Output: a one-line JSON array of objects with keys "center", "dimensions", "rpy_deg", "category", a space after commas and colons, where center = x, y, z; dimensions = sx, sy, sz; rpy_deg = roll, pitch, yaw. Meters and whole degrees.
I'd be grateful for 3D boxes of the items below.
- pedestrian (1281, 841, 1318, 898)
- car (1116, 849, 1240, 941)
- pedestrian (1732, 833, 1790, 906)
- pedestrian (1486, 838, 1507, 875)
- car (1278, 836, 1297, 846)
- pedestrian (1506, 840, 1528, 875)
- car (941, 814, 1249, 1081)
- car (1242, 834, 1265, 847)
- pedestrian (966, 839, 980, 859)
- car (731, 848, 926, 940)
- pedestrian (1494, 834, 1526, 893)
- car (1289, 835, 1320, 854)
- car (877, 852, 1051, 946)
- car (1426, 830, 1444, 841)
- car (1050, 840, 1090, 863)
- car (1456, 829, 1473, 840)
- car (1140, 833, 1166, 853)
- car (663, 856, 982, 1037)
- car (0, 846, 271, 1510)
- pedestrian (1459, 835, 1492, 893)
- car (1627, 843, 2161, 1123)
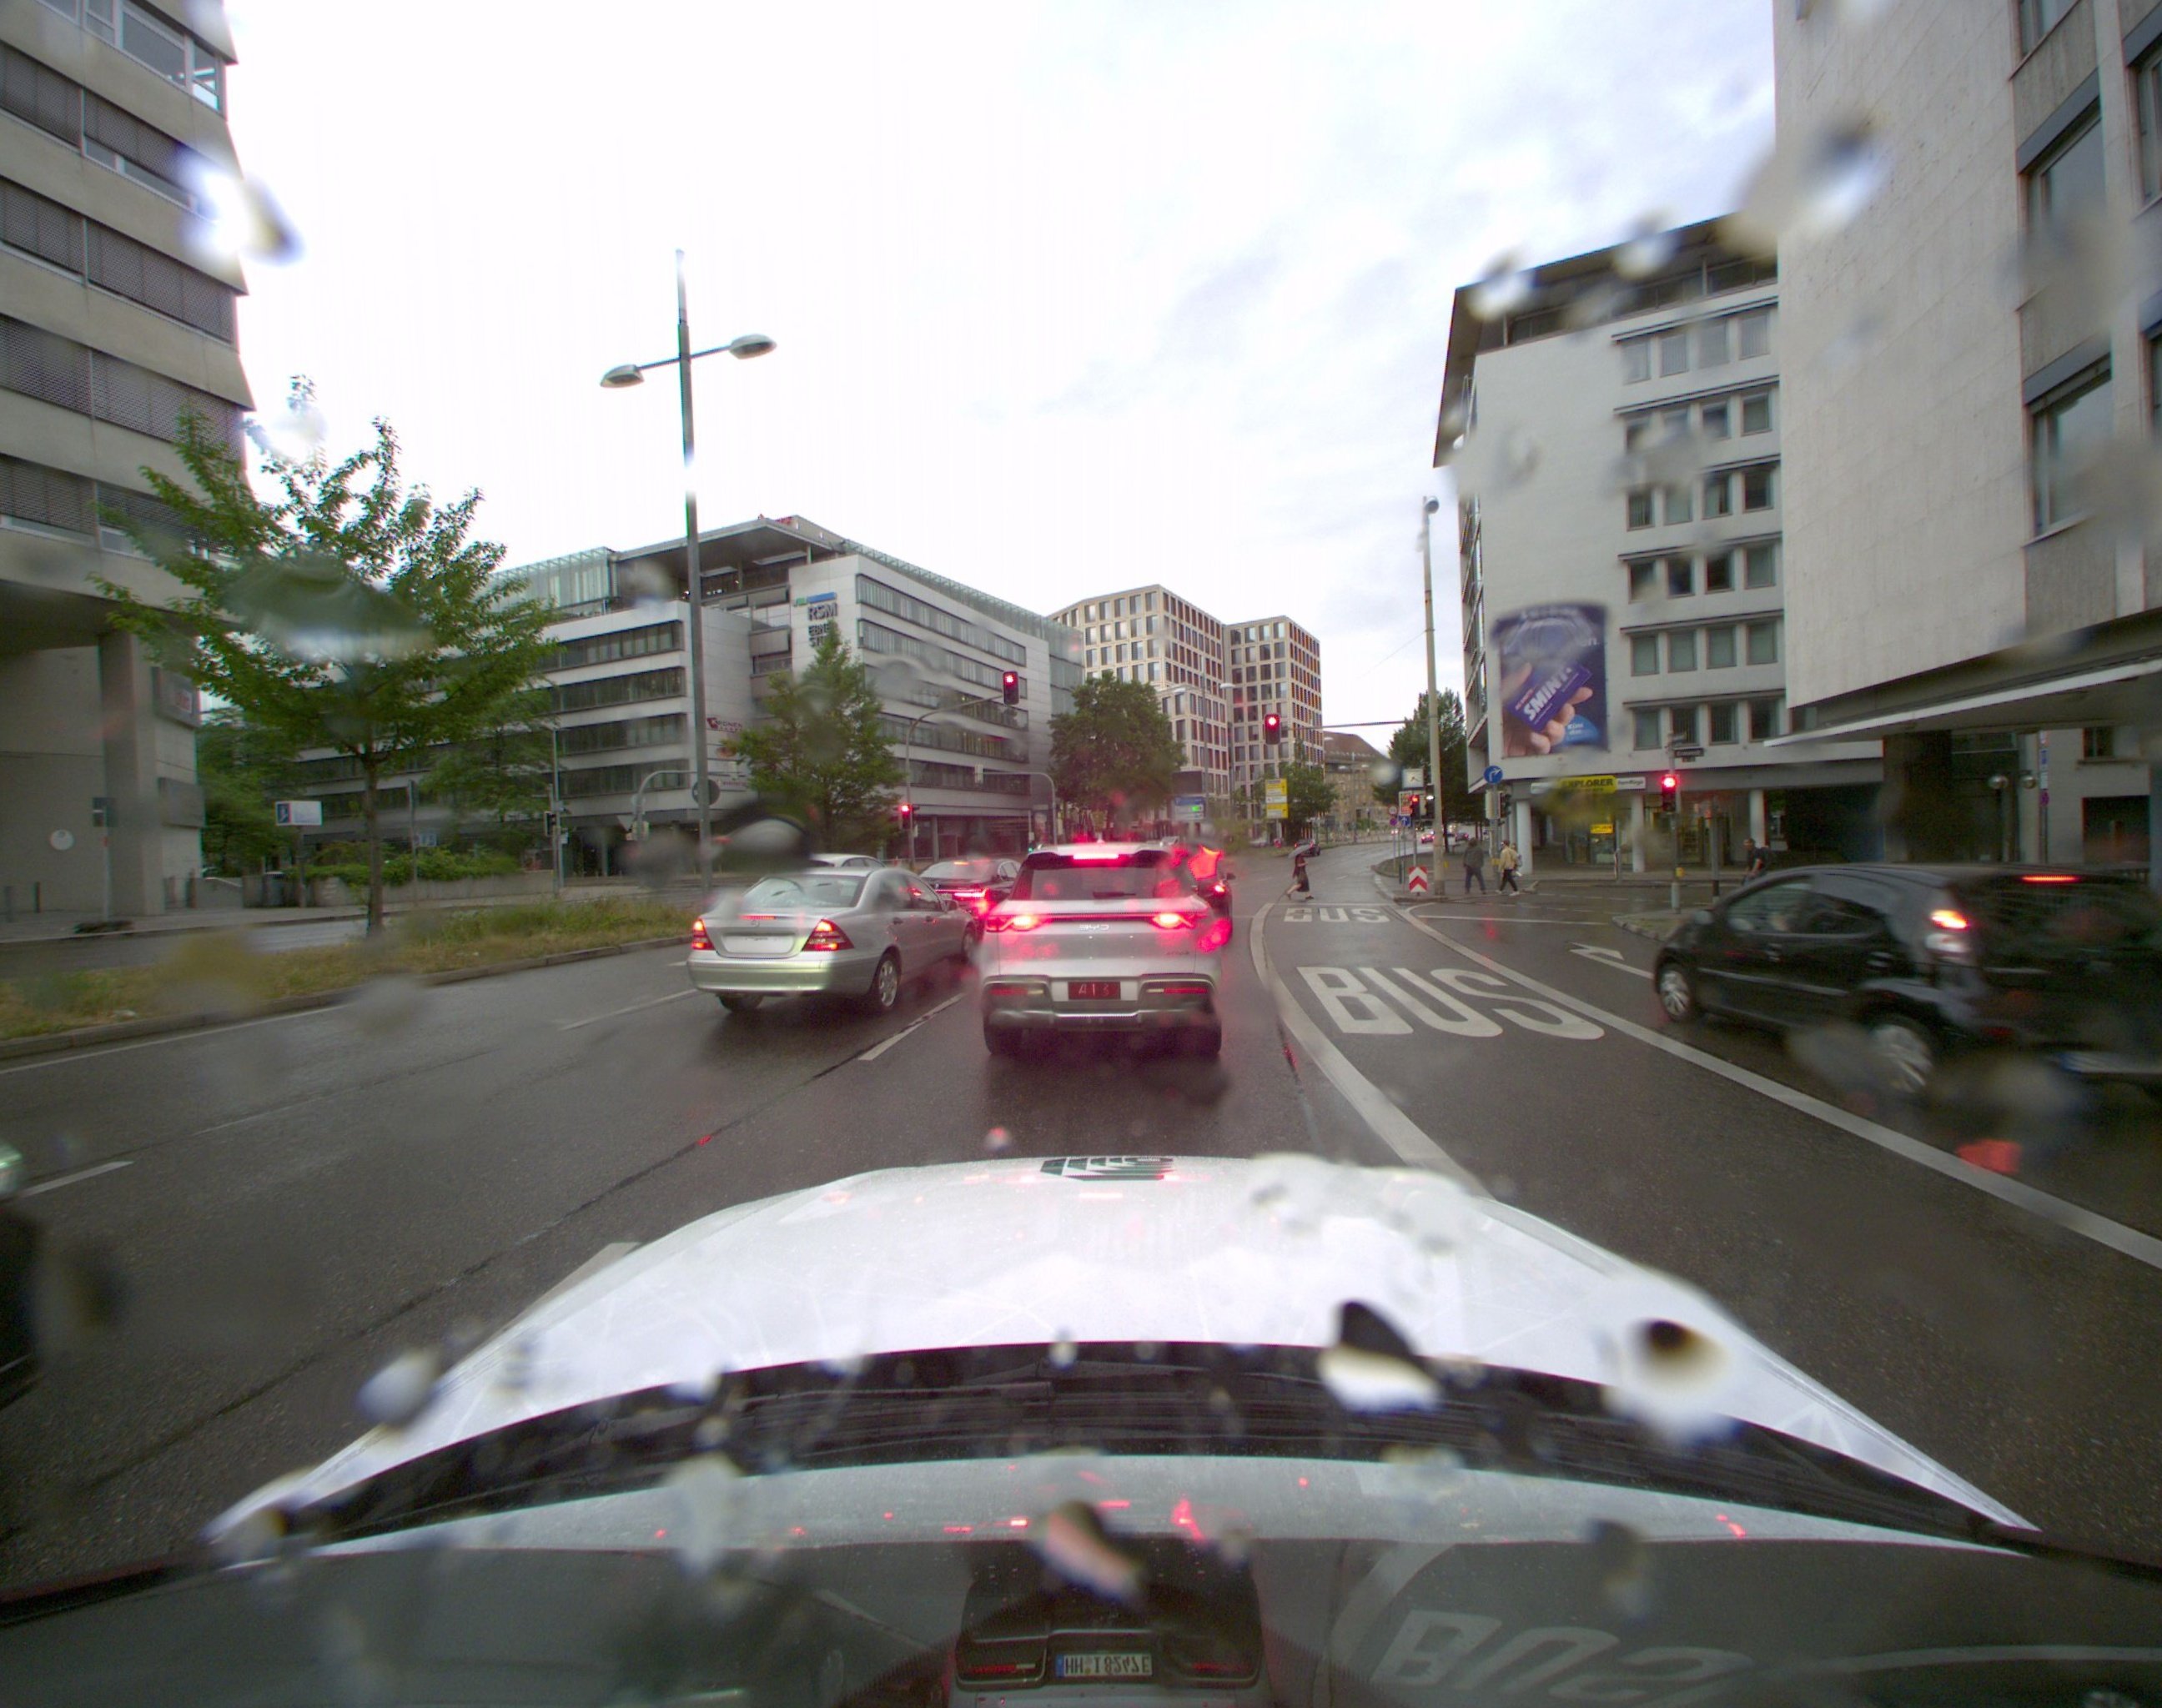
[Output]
[{"center": [6.888, 0.471, 25.699], "dimensions": [0.920, 1.738, 0.729], "rpy_deg": [-1, 0, -3], "category": "pedestrian"}, {"center": [2.033, 0.702, 15.969], "dimensions": [1.941, 1.530, 4.014], "rpy_deg": [-1, 0, 13], "category": "car"}, {"center": [16.974, 0.383, 20.341], "dimensions": [0.800, 1.755, 1.005], "rpy_deg": [0, -1, -44], "category": "pedestrian"}, {"center": [18.878, 0.121, 37.004], "dimensions": [0.721, 1.668, 0.694], "rpy_deg": [-1, -1, 17], "category": "pedestrian"}, {"center": [34.921, -2.209, 137.726], "dimensions": [1.975, 1.705, 4.336], "rpy_deg": [-1, 2, 29], "category": "car"}, {"center": [19.604, 0.148, 36.630], "dimensions": [0.721, 1.524, 0.763], "rpy_deg": [-1, -1, 17], "category": "pedestrian"}, {"center": [0.232, 0.607, 7.678], "dimensions": [1.985, 1.709, 4.487], "rpy_deg": [-2, 0, 4], "category": "car"}, {"center": [25.248, -2.009, 119.172], "dimensions": [1.975, 1.705, 4.336], "rpy_deg": [-1, 2, 29], "category": "car"}, {"center": [-9.275, -0.448, 69.874], "dimensions": [0.721, 1.727, 0.930], "rpy_deg": [-1, 0, 23], "category": "pedestrian"}, {"center": [-4.832, 0.696, 16.270], "dimensions": [1.871, 1.596, 4.015], "rpy_deg": [-1, 0, 14], "category": "car"}, {"center": [13.391, 0.285, 25.455], "dimensions": [0.721, 1.798, 0.742], "rpy_deg": [-1, 0, 17], "category": "pedestrian"}, {"center": [19.564, -0.821, 71.232], "dimensions": [1.975, 1.552, 4.023], "rpy_deg": [0, 1, 24], "category": "car"}, {"center": [-2.045, 0.756, 15.567], "dimensions": [1.941, 1.530, 4.014], "rpy_deg": [-1, 0, 13], "category": "car"}, {"center": [50.656, -2.599, 116.412], "dimensions": [1.892, 1.510, 4.384], "rpy_deg": [0, 1, 30], "category": "car"}, {"center": [-0.869, -0.225, 68.009], "dimensions": [1.976, 1.705, 4.022], "rpy_deg": [-1, 2, 21], "category": "car"}, {"center": [59.672, -3.040, 126.829], "dimensions": [2.027, 1.765, 4.384], "rpy_deg": [0, 1, 30], "category": "car"}, {"center": [7.988, -1.213, 90.449], "dimensions": [1.723, 2.161, 4.516], "rpy_deg": [0, 0, 20], "category": "car"}, {"center": [-2.527, 0.819, 9.158], "dimensions": [1.672, 1.486, 4.207], "rpy_deg": [-1, 0, 9], "category": "car"}, {"center": [-3.285, 0.734, 0.181], "dimensions": [1.931, 1.435, 4.285], "rpy_deg": [-2, 0, -1], "category": "car"}, {"center": [12.564, 0.305, 25.960], "dimensions": [0.806, 1.798, 0.714], "rpy_deg": [-1, 0, 17], "category": "pedestrian"}, {"center": [5.856, 0.674, 6.052], "dimensions": [1.652, 1.473, 3.492], "rpy_deg": [-1, 0, 9], "category": "car"}]
